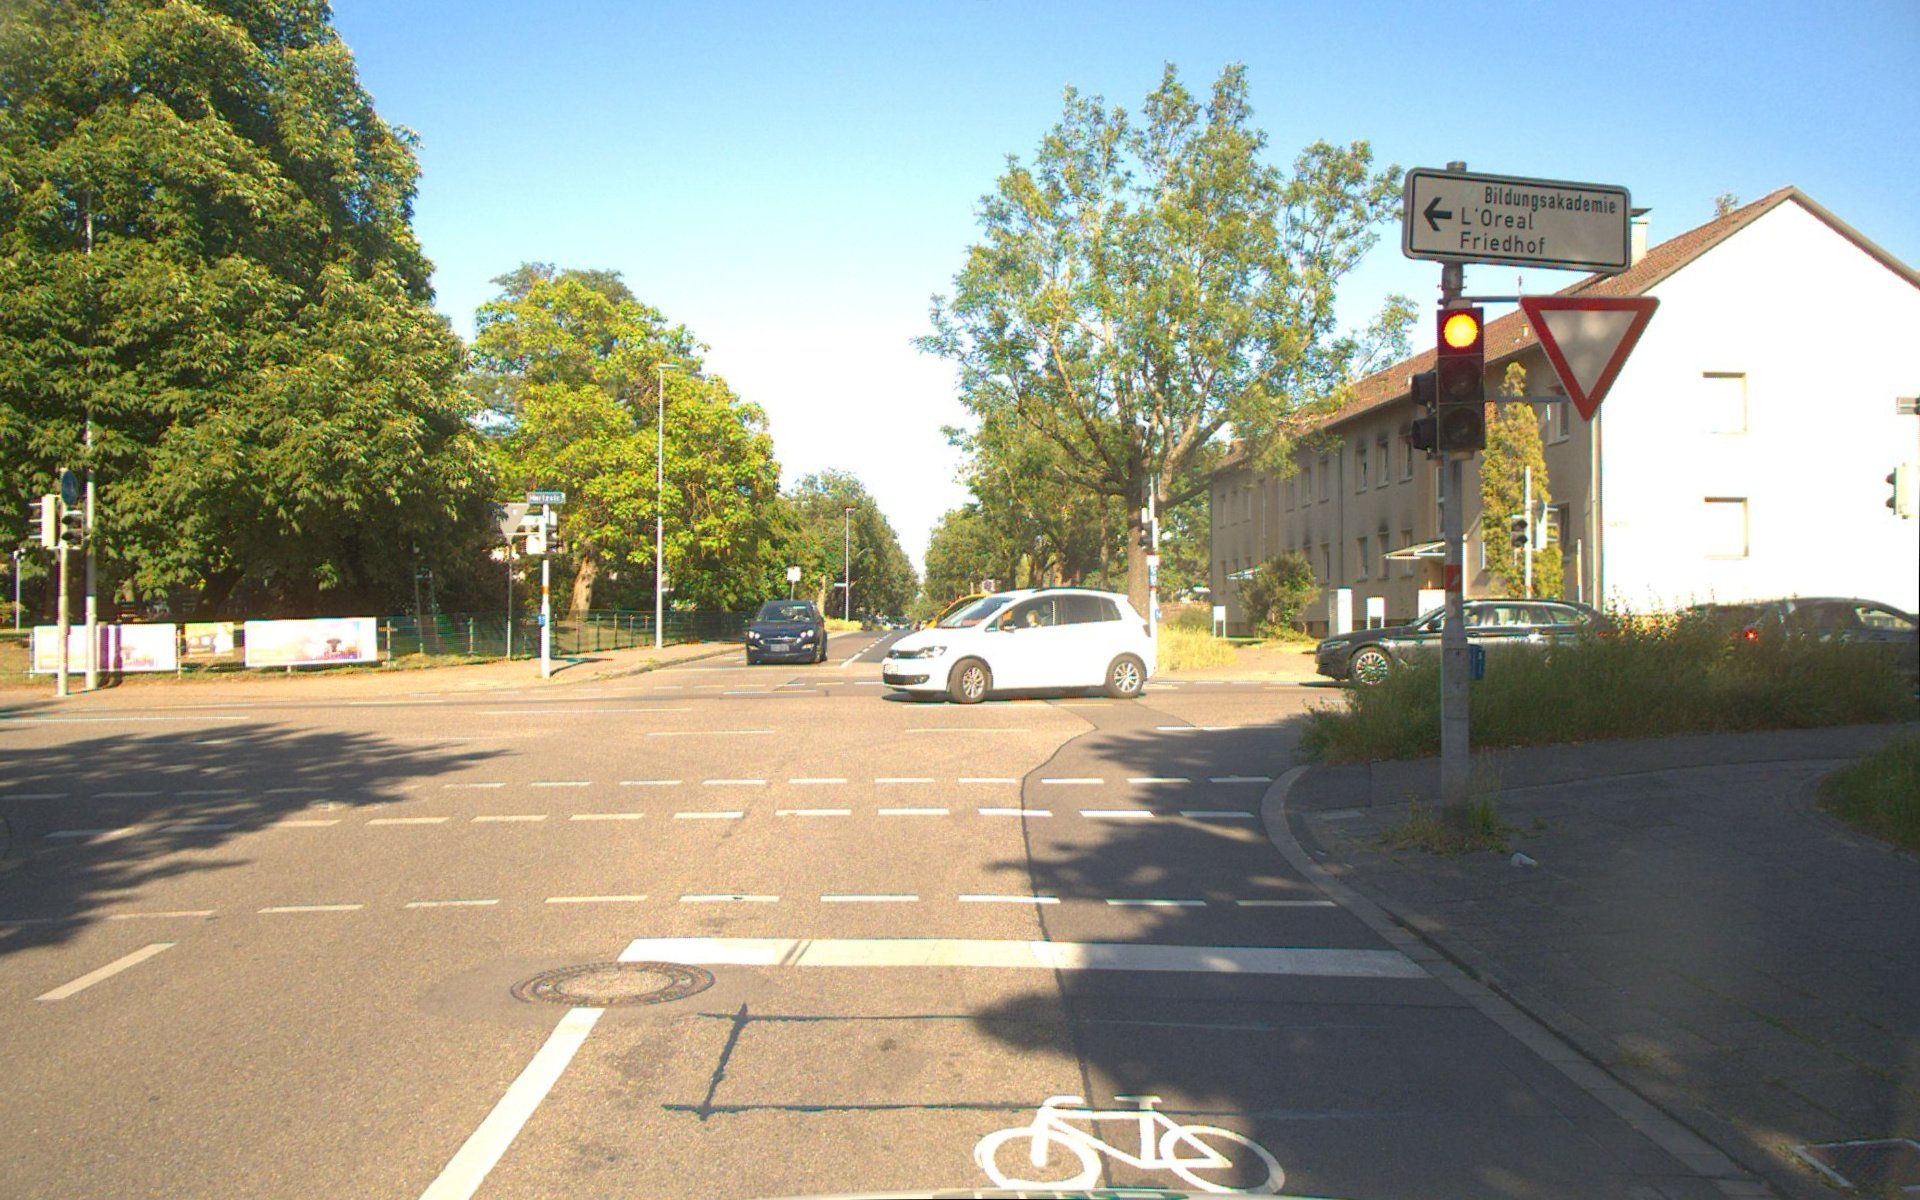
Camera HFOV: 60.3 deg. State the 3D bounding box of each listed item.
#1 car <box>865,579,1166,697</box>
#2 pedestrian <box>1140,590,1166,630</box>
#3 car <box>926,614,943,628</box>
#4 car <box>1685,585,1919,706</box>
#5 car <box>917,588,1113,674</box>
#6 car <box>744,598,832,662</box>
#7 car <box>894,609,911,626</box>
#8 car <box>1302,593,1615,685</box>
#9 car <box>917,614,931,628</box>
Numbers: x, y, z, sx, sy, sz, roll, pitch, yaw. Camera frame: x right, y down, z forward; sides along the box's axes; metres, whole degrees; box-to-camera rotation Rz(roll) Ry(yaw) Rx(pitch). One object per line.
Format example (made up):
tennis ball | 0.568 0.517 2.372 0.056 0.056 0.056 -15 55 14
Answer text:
car | 0.816 0.548 24.109 4.054 1.591 1.744 1 -1 -25
pedestrian | 7.479 0.383 64.142 0.825 1.519 0.924 2 0 -1
car | -2.789 2.302 181.989 1.807 1.487 3.529 0 0 -1
car | 12.364 0.572 22.451 4.198 1.515 1.912 -1 0 -3
car | 1.039 0.588 32.974 1.741 1.610 3.942 1 -1 -40
car | -3.957 0.662 38.558 1.676 1.410 3.471 0 0 0
car | -6.128 1.859 175.718 1.722 1.653 3.268 0 0 0
car | 8.177 0.617 27.460 4.629 1.455 2.001 0 0 2
car | -4.515 2.626 209.484 1.722 1.653 3.268 0 0 0
